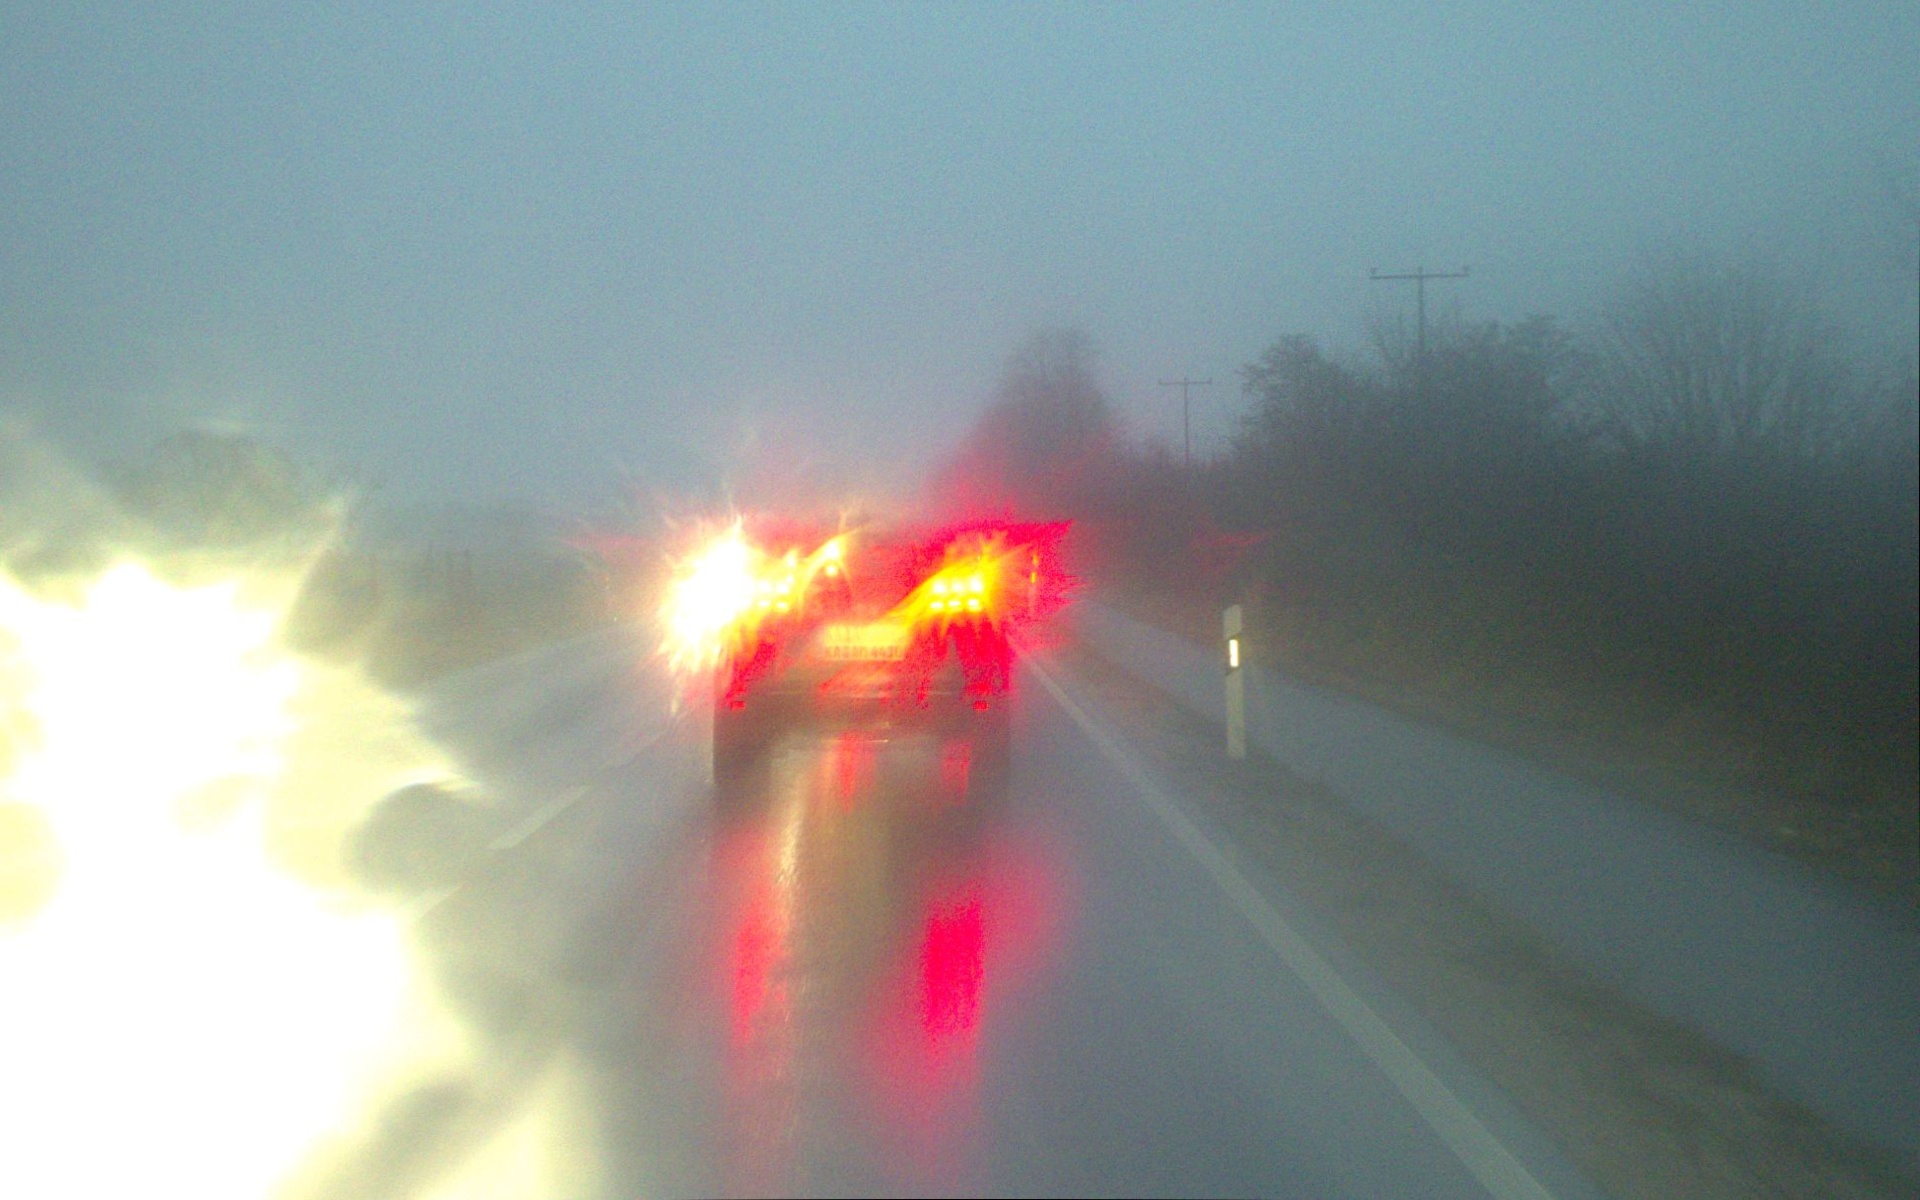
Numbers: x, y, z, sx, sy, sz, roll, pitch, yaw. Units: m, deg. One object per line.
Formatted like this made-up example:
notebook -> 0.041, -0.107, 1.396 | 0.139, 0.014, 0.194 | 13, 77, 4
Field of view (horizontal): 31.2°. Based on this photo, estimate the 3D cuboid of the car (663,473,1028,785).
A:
car -> -0.687, 0.115, 22.508 | 2.120, 1.813, 4.980 | 0, 1, 0

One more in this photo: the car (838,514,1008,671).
car -> -0.452, -0.122, 42.844 | 1.993, 1.843, 4.000 | 1, 1, 0

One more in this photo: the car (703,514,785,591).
car -> -5.353, -1.208, 85.731 | 1.824, 1.800, 4.495 | -2, 1, -1

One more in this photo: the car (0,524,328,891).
car -> -4.350, 0.438, 16.875 | 1.761, 1.550, 4.000 | -2, 2, -1
